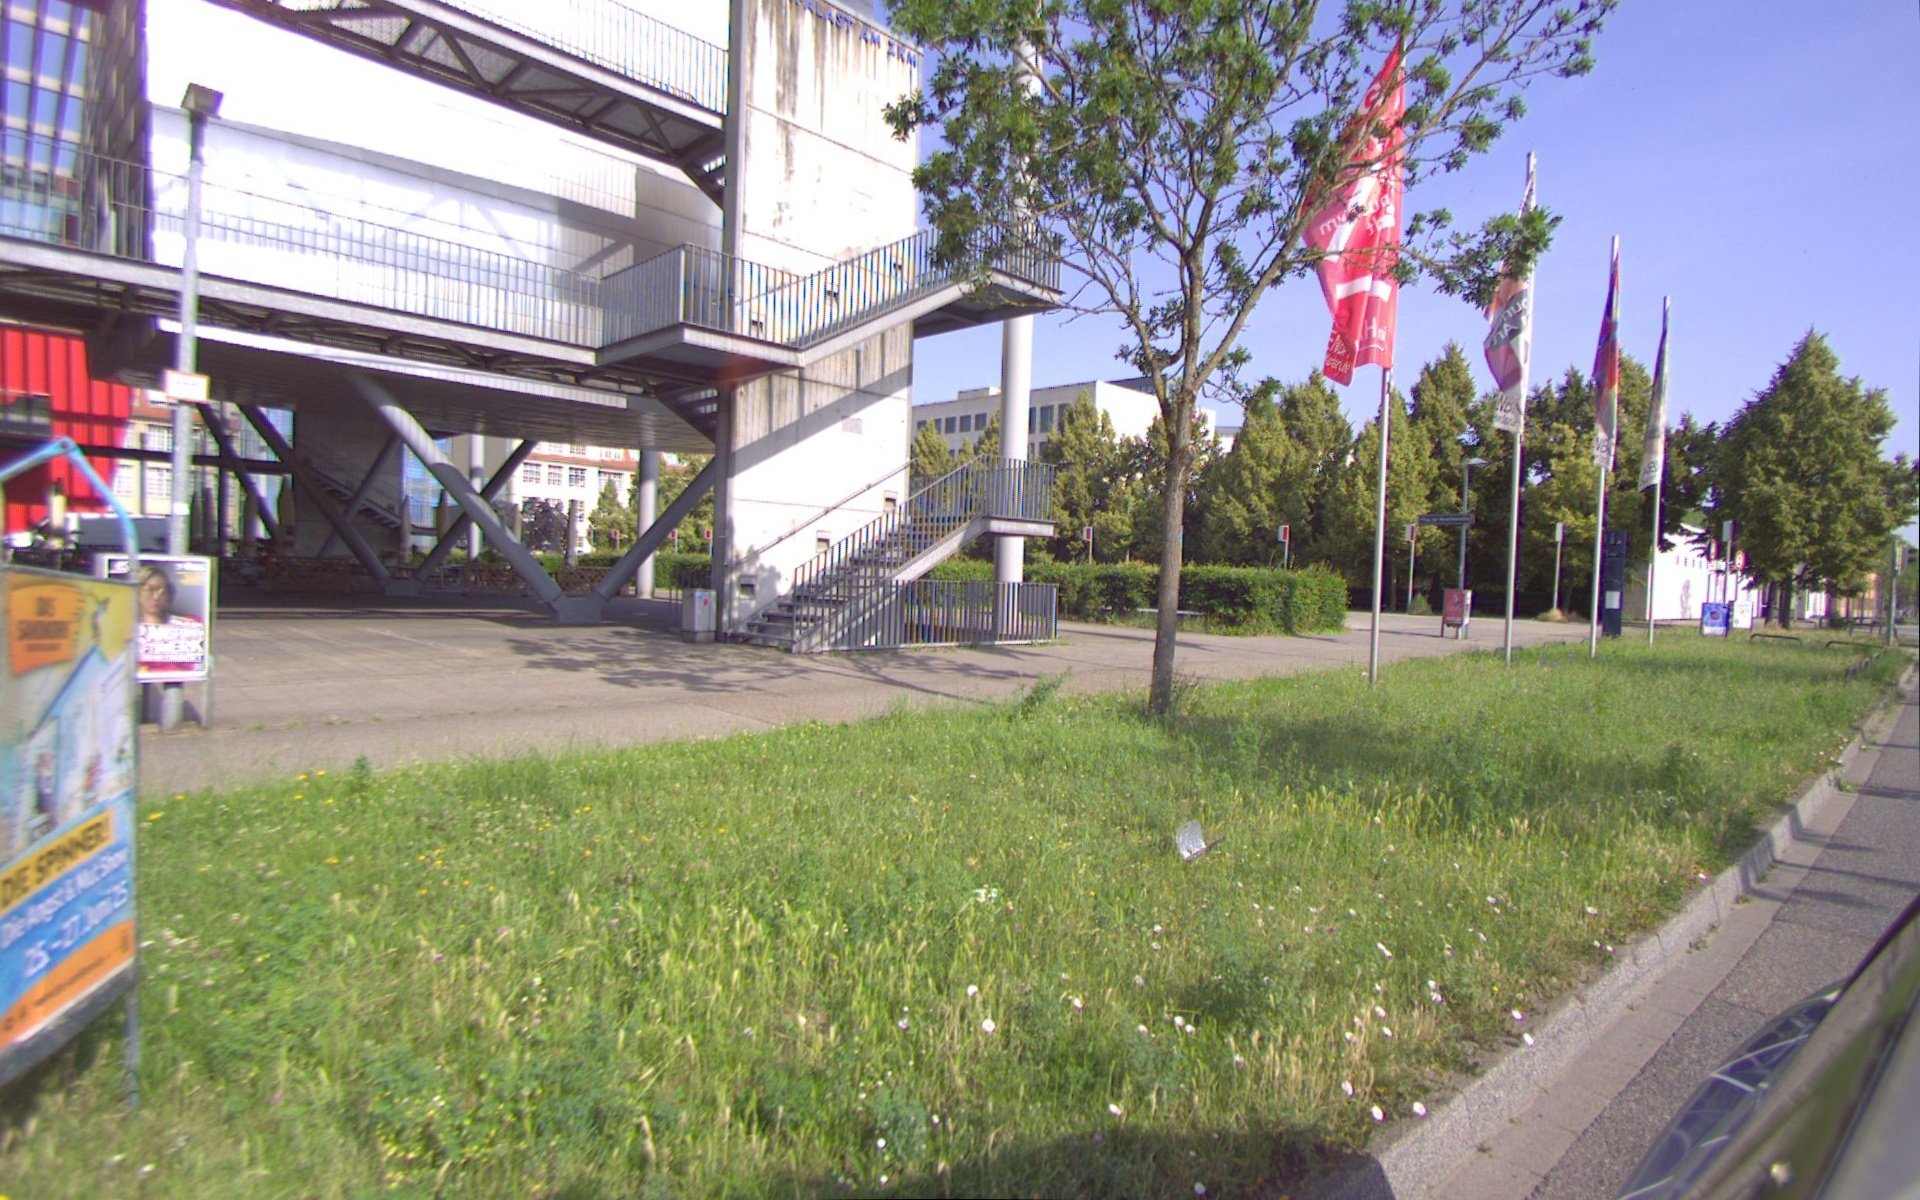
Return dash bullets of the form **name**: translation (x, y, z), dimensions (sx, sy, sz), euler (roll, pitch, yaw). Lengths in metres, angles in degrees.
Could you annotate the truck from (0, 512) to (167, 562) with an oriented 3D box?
- **truck**: translation (-38.649, -2.725, 44.601), dimensions (1.993, 1.875, 5.607), euler (3, 2, 42)
